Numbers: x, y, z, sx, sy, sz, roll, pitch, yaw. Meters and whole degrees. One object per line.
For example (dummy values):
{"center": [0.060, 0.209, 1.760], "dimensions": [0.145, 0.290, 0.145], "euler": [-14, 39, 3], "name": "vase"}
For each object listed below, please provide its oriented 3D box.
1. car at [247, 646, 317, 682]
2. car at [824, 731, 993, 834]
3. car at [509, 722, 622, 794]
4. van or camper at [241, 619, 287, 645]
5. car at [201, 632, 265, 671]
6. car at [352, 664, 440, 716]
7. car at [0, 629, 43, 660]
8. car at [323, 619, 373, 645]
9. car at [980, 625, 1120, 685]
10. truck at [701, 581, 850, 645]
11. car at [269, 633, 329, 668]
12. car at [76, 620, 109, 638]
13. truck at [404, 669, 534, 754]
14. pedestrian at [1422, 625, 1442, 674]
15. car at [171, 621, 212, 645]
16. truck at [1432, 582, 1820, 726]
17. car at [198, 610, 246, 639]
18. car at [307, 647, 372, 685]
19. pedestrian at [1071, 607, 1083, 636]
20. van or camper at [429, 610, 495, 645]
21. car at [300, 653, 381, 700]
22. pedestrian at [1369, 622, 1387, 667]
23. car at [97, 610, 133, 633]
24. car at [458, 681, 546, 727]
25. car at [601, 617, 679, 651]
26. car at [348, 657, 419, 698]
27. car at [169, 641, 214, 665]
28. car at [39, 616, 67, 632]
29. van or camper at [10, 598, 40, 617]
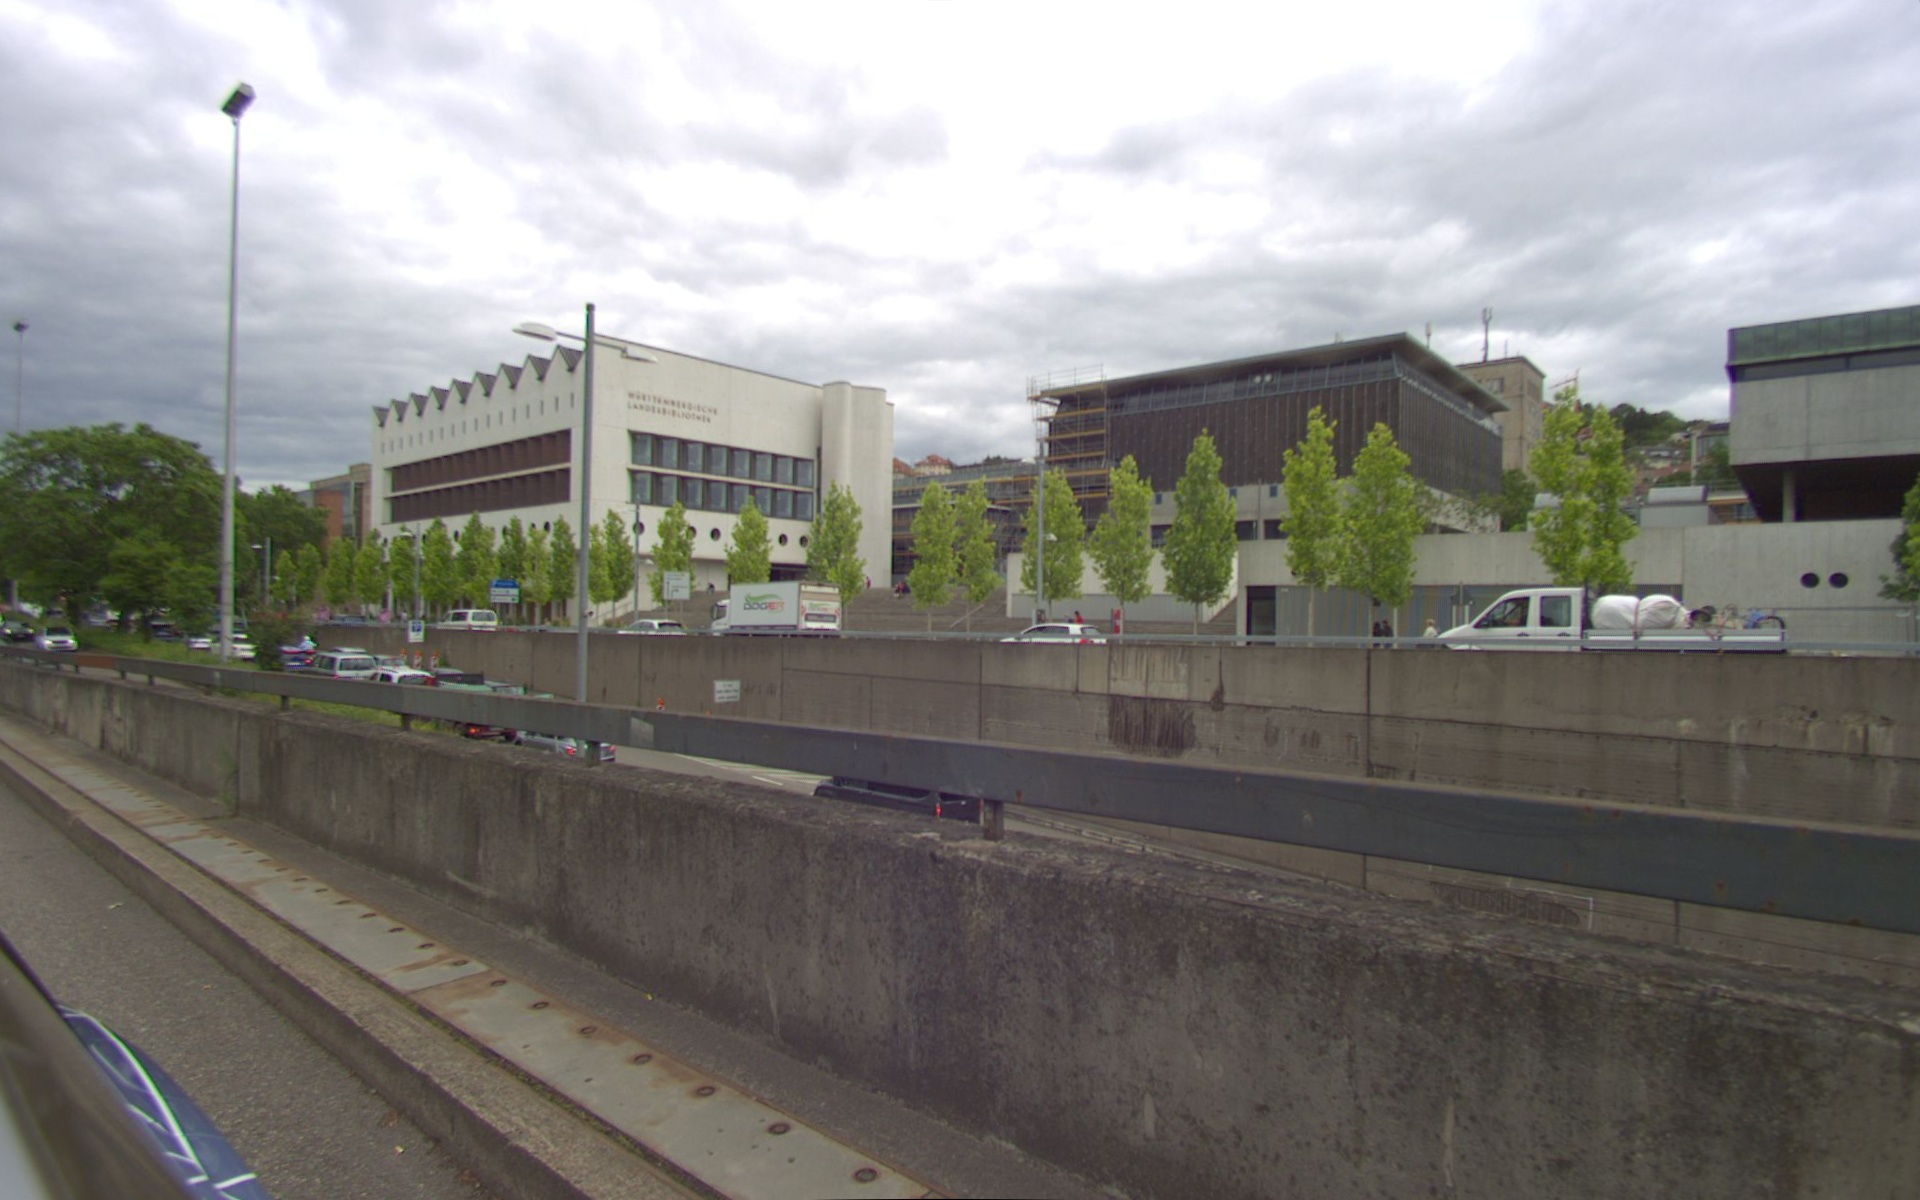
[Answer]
{"center": [-35.775, 3.360, 53.356], "dimensions": [4.280, 1.757, 1.972], "euler": [-2, -5, 41], "name": "car"}
{"center": [-1.402, 4.661, 26.482], "dimensions": [4.227, 1.970, 1.973], "euler": [-1, -1, 41], "name": "car"}
{"center": [-12.822, 5.041, 32.772], "dimensions": [3.925, 1.829, 1.771], "euler": [-2, -2, 41], "name": "car"}
{"center": [-56.838, 2.595, 82.641], "dimensions": [4.552, 2.029, 1.974], "euler": [-3, -2, 40], "name": "van or camper"}
{"center": [-42.747, 3.039, 59.471], "dimensions": [4.850, 2.148, 1.972], "euler": [-2, -5, 42], "name": "car"}
{"center": [-23.946, 3.794, 42.954], "dimensions": [3.998, 2.029, 1.972], "euler": [-2, -5, 41], "name": "car"}
{"center": [-66.196, 3.138, 71.255], "dimensions": [3.999, 2.029, 1.972], "euler": [0, -2, 42], "name": "car"}
{"center": [-44.392, 2.317, 73.374], "dimensions": [3.998, 1.829, 1.972], "euler": [-3, -2, 41], "name": "car"}
{"center": [2.931, 1.775, 33.383], "dimensions": [4.256, 1.829, 1.972], "euler": [-3, -2, 41], "name": "car"}
{"center": [-8.903, 0.682, 48.317], "dimensions": [7.250, 2.809, 3.197], "euler": [-3, -2, 42], "name": "truck"}
{"center": [-40.237, 3.046, 61.540], "dimensions": [3.998, 2.029, 1.972], "euler": [-2, -5, 41], "name": "car"}
{"center": [-72.087, 2.416, 84.126], "dimensions": [3.360, 1.497, 1.653], "euler": [-2, -2, 41], "name": "car"}
{"center": [-18.353, 4.020, 37.673], "dimensions": [5.977, 2.711, 2.294], "euler": [-2, -2, 42], "name": "truck"}
{"center": [15.022, 1.569, 32.213], "dimensions": [0.461, 1.533, 0.424], "euler": [-1, -1, 35], "name": "pedestrian"}
{"center": [-66.829, 2.901, 88.017], "dimensions": [3.998, 2.029, 1.972], "euler": [-2, -5, 41], "name": "car"}
{"center": [14.981, 1.189, 23.212], "dimensions": [7.078, 2.838, 2.437], "euler": [-3, -2, 43], "name": "truck"}
{"center": [-54.716, 1.812, 75.016], "dimensions": [4.653, 2.029, 1.973], "euler": [-2, -2, 41], "name": "car"}
{"center": [-34.949, 3.718, 56.994], "dimensions": [3.998, 2.029, 1.972], "euler": [-2, -5, 41], "name": "car"}
{"center": [6.180, 1.118, 53.308], "dimensions": [0.461, 1.533, 0.377], "euler": [-2, -1, 35], "name": "pedestrian"}
{"center": [-30.124, 1.688, 61.181], "dimensions": [4.555, 2.029, 1.972], "euler": [-3, -2, 41], "name": "van or camper"}
{"center": [-29.073, 3.557, 47.427], "dimensions": [4.331, 2.029, 1.972], "euler": [-2, -5, 41], "name": "car"}
{"center": [14.483, 1.522, 35.082], "dimensions": [0.461, 1.533, 0.457], "euler": [-1, -1, 35], "name": "pedestrian"}
{"center": [-78.261, 1.987, 93.692], "dimensions": [3.998, 2.029, 1.973], "euler": [-1, -1, 41], "name": "car"}
{"center": [-19.575, 4.390, 43.199], "dimensions": [3.998, 1.564, 1.973], "euler": [-1, 0, 41], "name": "car"}
{"center": [-15.481, 1.653, 48.847], "dimensions": [4.270, 1.586, 1.700], "euler": [-3, -2, 43], "name": "car"}
{"center": [-30.343, 4.060, 53.246], "dimensions": [3.998, 2.029, 1.972], "euler": [-2, -5, 41], "name": "car"}
{"center": [-49.456, 3.389, 65.096], "dimensions": [3.360, 1.497, 1.653], "euler": [-1, -2, 41], "name": "car"}
{"center": [-88.406, 2.310, 98.661], "dimensions": [3.360, 1.497, 1.653], "euler": [-2, -2, 41], "name": "car"}
{"center": [-101.649, 0.822, 110.010], "dimensions": [3.998, 2.029, 2.010], "euler": [-2, -2, 41], "name": "van or camper"}
